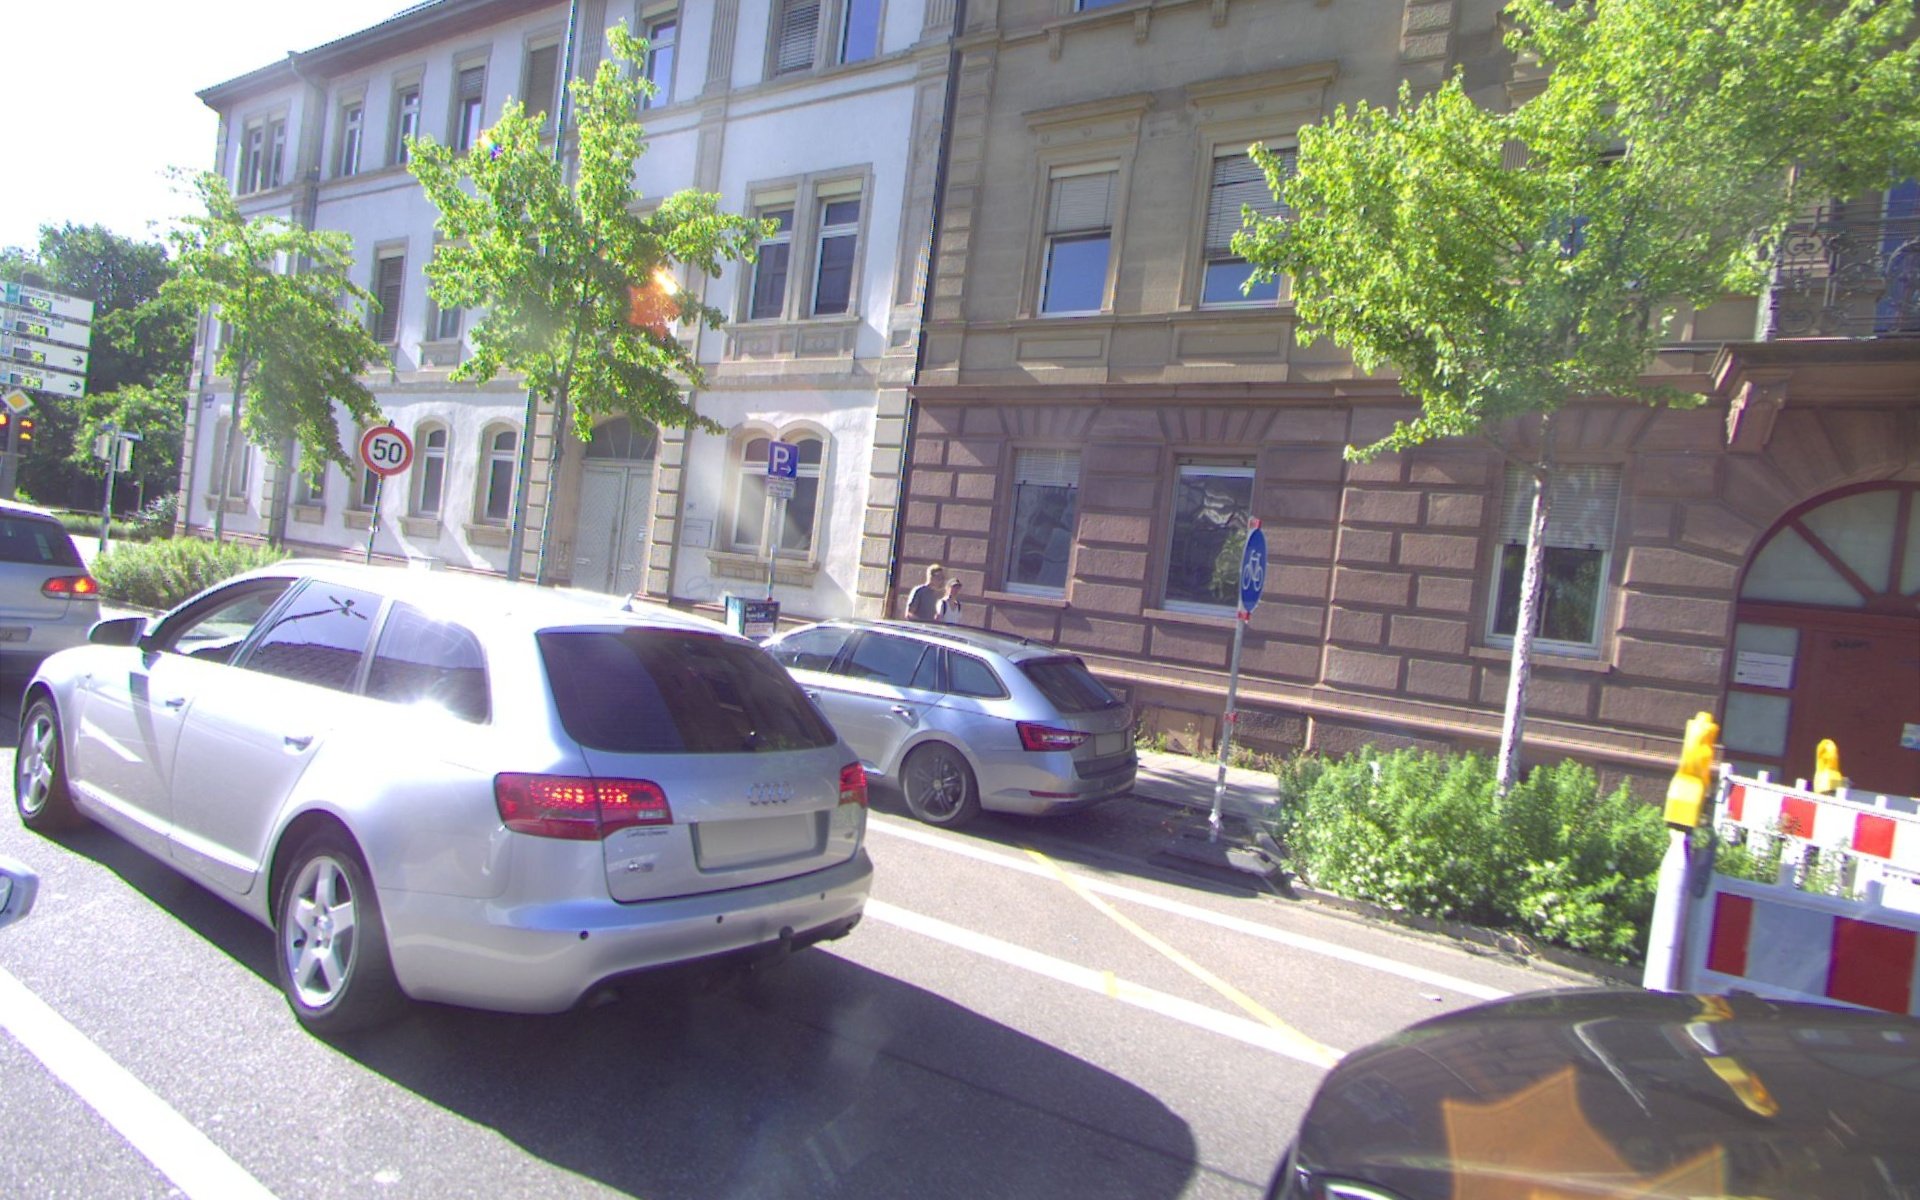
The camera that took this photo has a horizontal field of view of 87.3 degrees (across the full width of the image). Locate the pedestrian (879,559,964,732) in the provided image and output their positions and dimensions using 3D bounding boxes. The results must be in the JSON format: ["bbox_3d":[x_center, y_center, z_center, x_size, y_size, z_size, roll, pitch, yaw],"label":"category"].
[{"bbox_3d":[-0.452,0.520,11.891,0.577,1.939,0.658,7,4,31],"label":"pedestrian"}]

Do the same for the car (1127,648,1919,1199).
[{"bbox_3d":[2.630,1.127,1.089,4.449,1.460,2.055,7,-2,32],"label":"car"}]

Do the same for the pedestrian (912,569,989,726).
[{"bbox_3d":[-0.121,0.579,12.437,0.577,1.846,0.562,7,4,31],"label":"pedestrian"}]

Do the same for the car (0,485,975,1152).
[{"bbox_3d":[-2.462,0.456,4.494,4.761,1.444,1.749,7,-1,34],"label":"car"}]

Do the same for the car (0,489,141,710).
[{"bbox_3d":[-8.455,-0.213,8.011,3.939,1.545,1.752,7,-1,33],"label":"car"}]

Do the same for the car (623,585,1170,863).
[{"bbox_3d":[-0.709,0.869,8.864,4.622,1.495,1.648,7,3,32],"label":"car"}]
